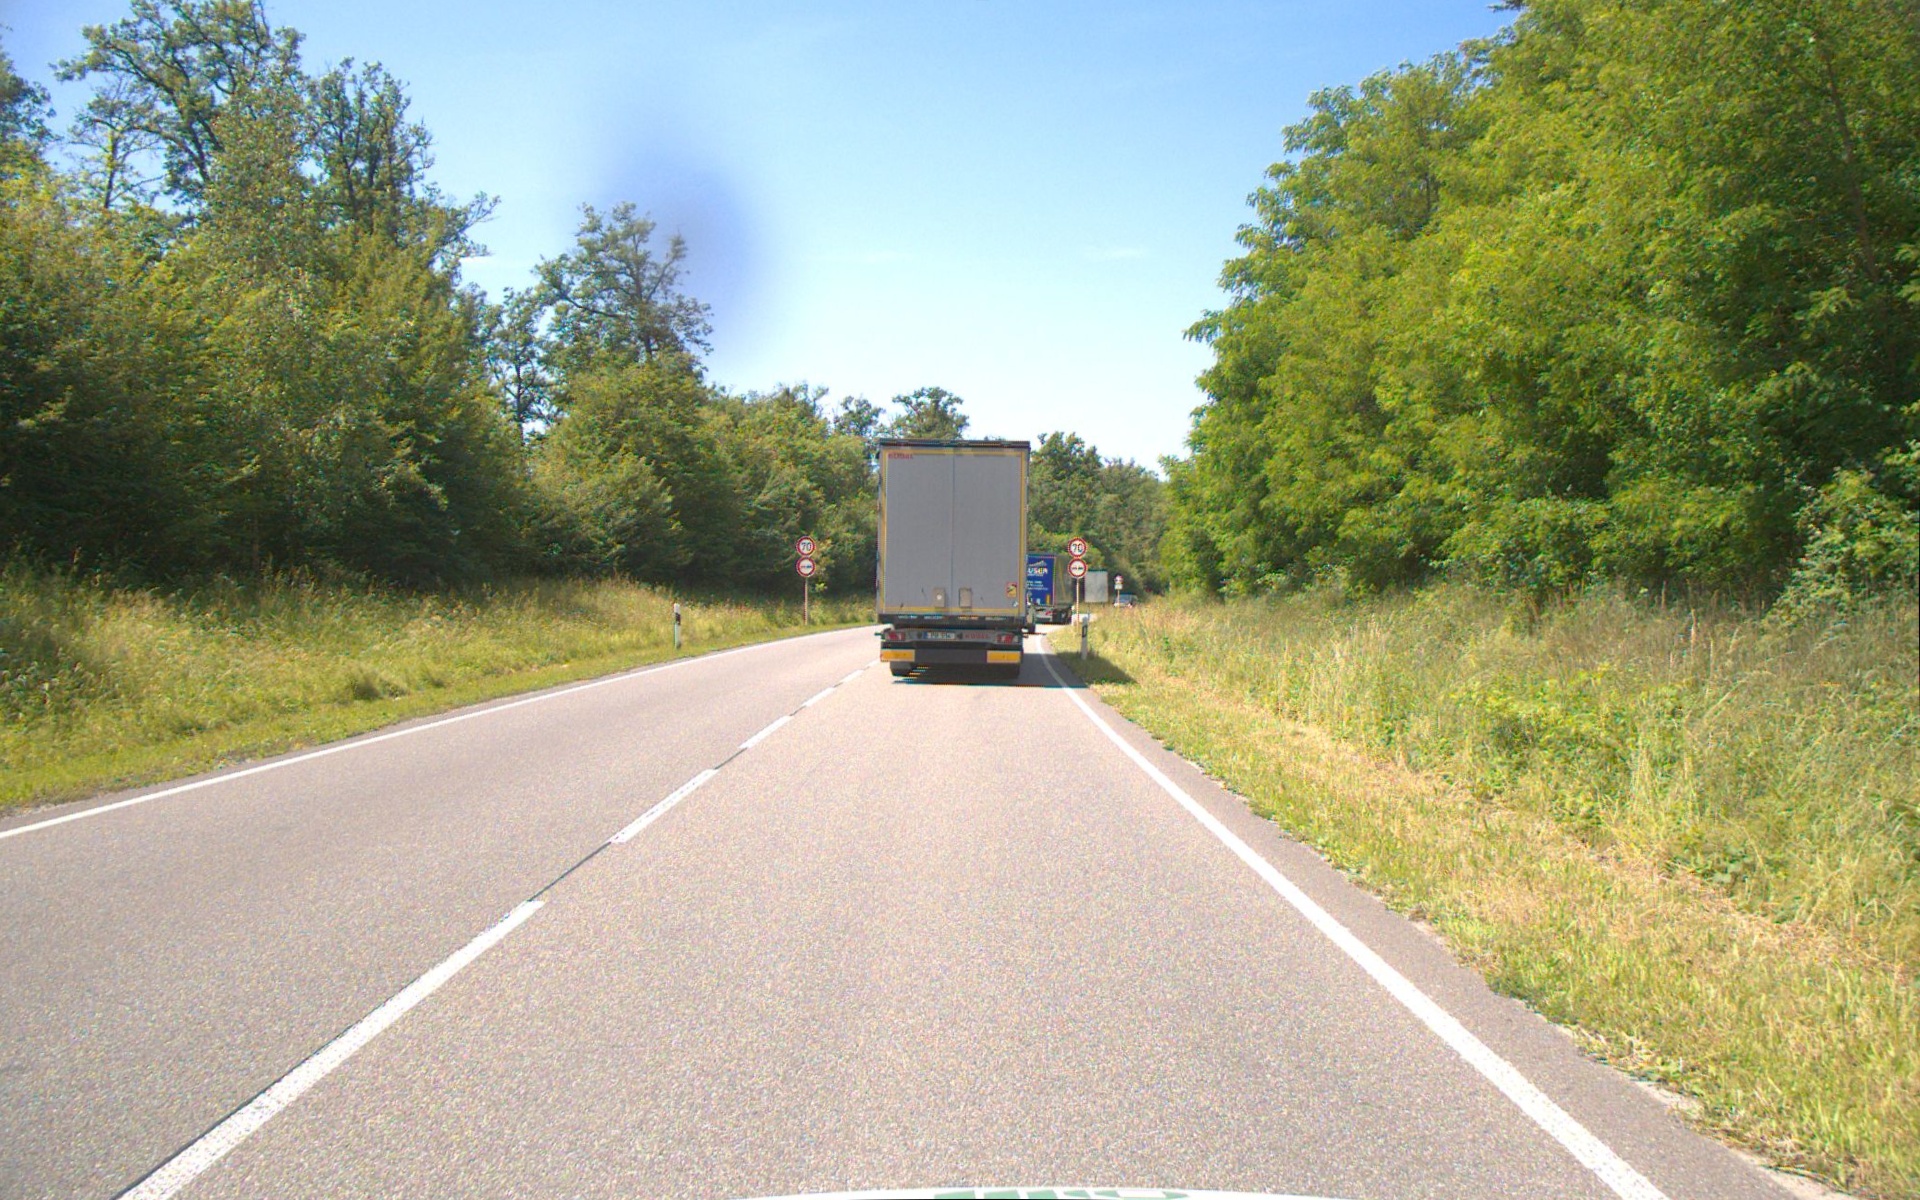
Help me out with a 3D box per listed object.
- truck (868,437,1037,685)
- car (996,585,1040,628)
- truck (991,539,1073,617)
[{"bbox_3d":[-0.155,-0.696,33.235,2.705,4.016,12.196,1,1,0],"label":"truck"},{"bbox_3d":[2.435,0.240,68.592,1.733,1.738,4.002,0,0,3],"label":"car"},{"bbox_3d":[4.553,-1.302,101.034,3.712,4.449,14.932,0,0,7],"label":"truck"}]
